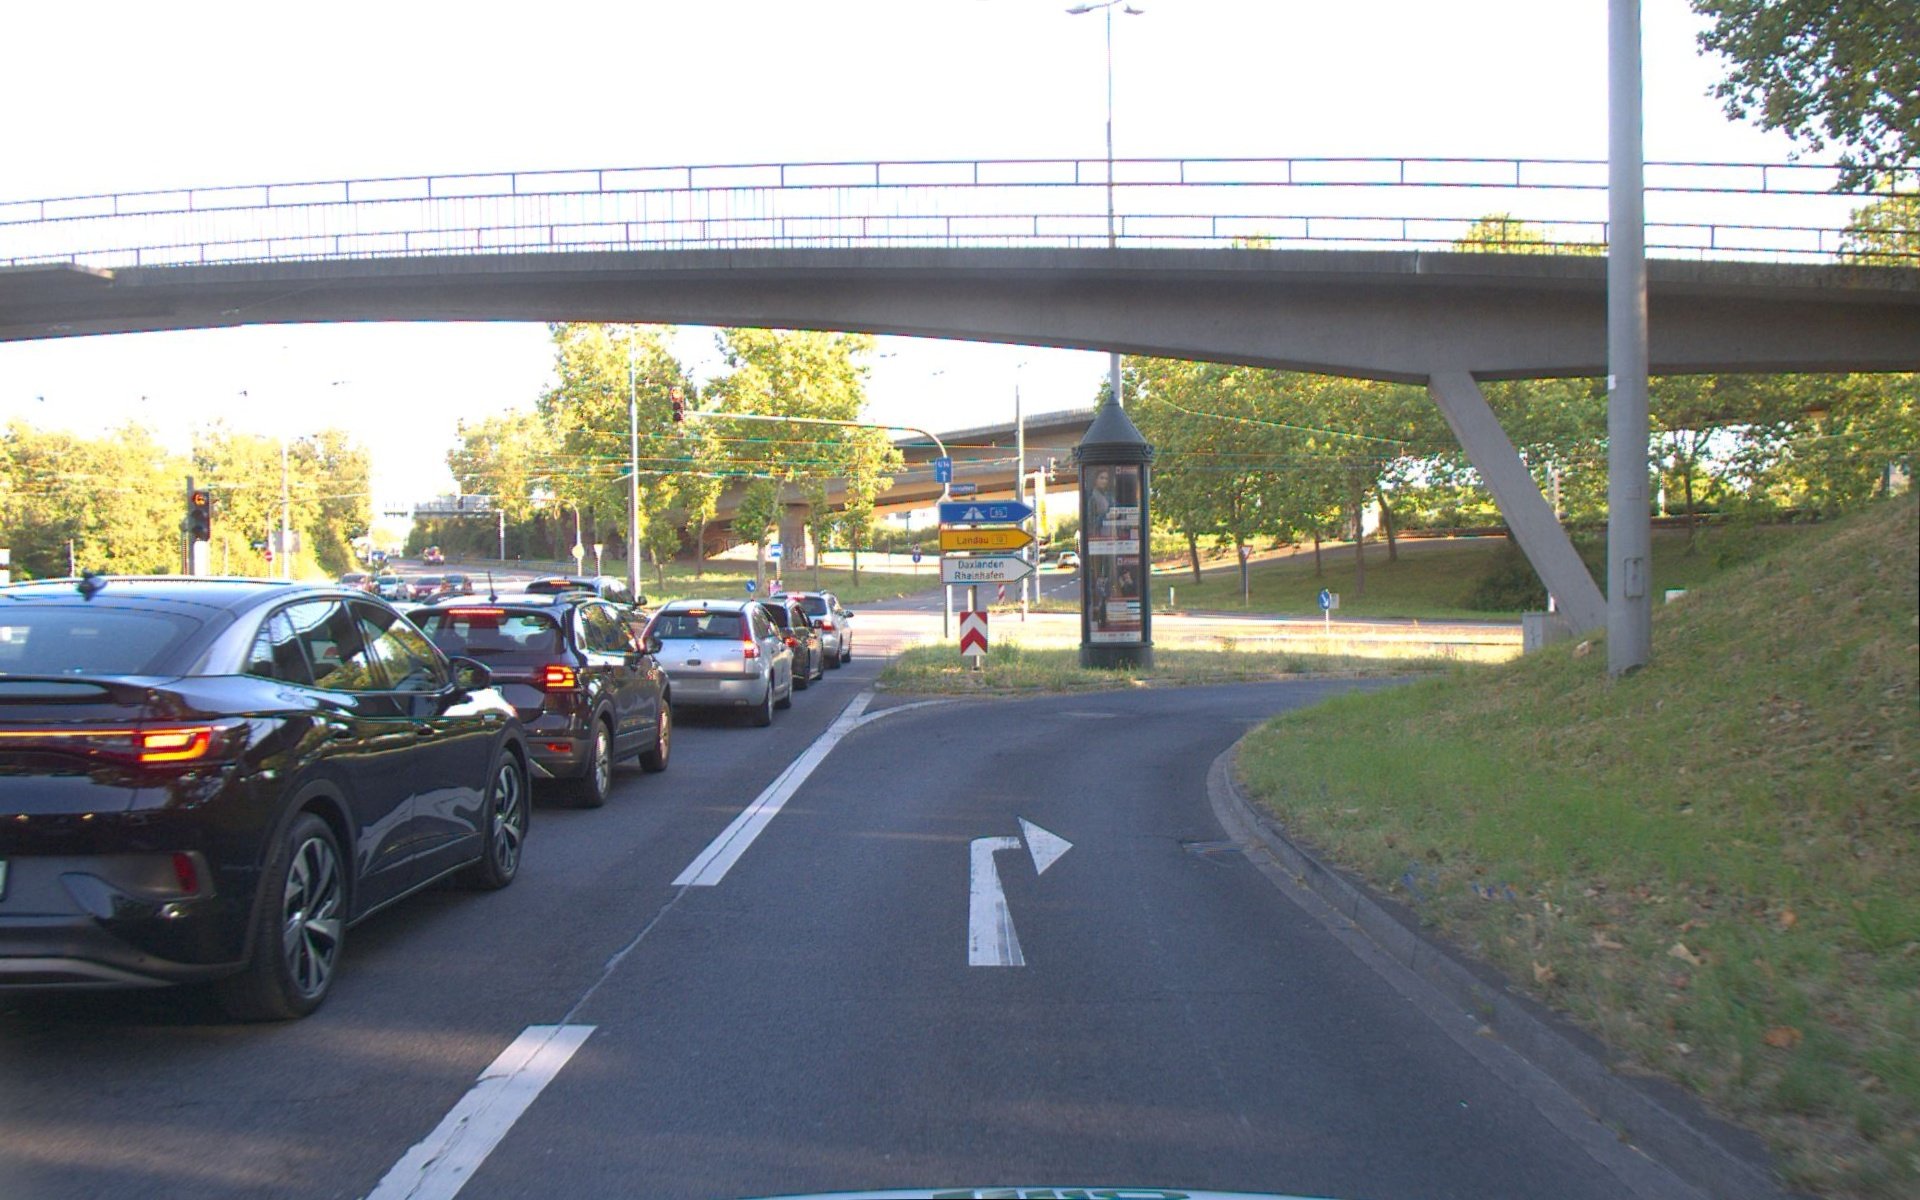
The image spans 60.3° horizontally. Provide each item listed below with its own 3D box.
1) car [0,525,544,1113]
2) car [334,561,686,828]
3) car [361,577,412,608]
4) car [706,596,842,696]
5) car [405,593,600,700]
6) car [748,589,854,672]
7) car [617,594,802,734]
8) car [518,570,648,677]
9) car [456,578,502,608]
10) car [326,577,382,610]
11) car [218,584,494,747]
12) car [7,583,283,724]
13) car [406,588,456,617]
[{"bbox_3d":[-3.240,0.668,7.196,1.756,1.780,4.240,-3,1,-1],"label":"car"},{"bbox_3d":[-3.470,0.632,13.543,1.756,1.780,4.000,-3,1,-1],"label":"car"},{"bbox_3d":[-35.241,-0.478,101.663,1.841,1.803,3.999,0,1,-2],"label":"car"},{"bbox_3d":[-3.006,0.699,27.575,1.756,1.407,4.476,-3,1,-1],"label":"car"},{"bbox_3d":[-6.939,0.652,25.572,1.706,1.457,4.412,0,1,1],"label":"car"},{"bbox_3d":[-3.170,0.563,33.586,1.756,1.467,4.000,-3,1,-1],"label":"car"},{"bbox_3d":[-3.101,0.738,21.224,1.756,1.507,4.000,-3,1,-1],"label":"car"},{"bbox_3d":[-7.168,0.396,31.882,1.758,1.823,4.821,-3,1,-6],"label":"car"},{"bbox_3d":[-30.228,-0.446,104.124,1.841,1.803,3.999,0,1,-2],"label":"car"},{"bbox_3d":[-34.622,-0.395,94.562,1.841,1.803,3.999,0,1,-2],"label":"car"},{"bbox_3d":[-6.829,0.652,19.182,1.629,1.592,4.190,-3,1,-1],"label":"car"},{"bbox_3d":[-10.608,0.622,21.870,1.629,1.592,4.000,-3,1,-1],"label":"car"},{"bbox_3d":[-31.064,0.140,97.245,1.841,1.602,3.673,0,1,-2],"label":"car"}]
